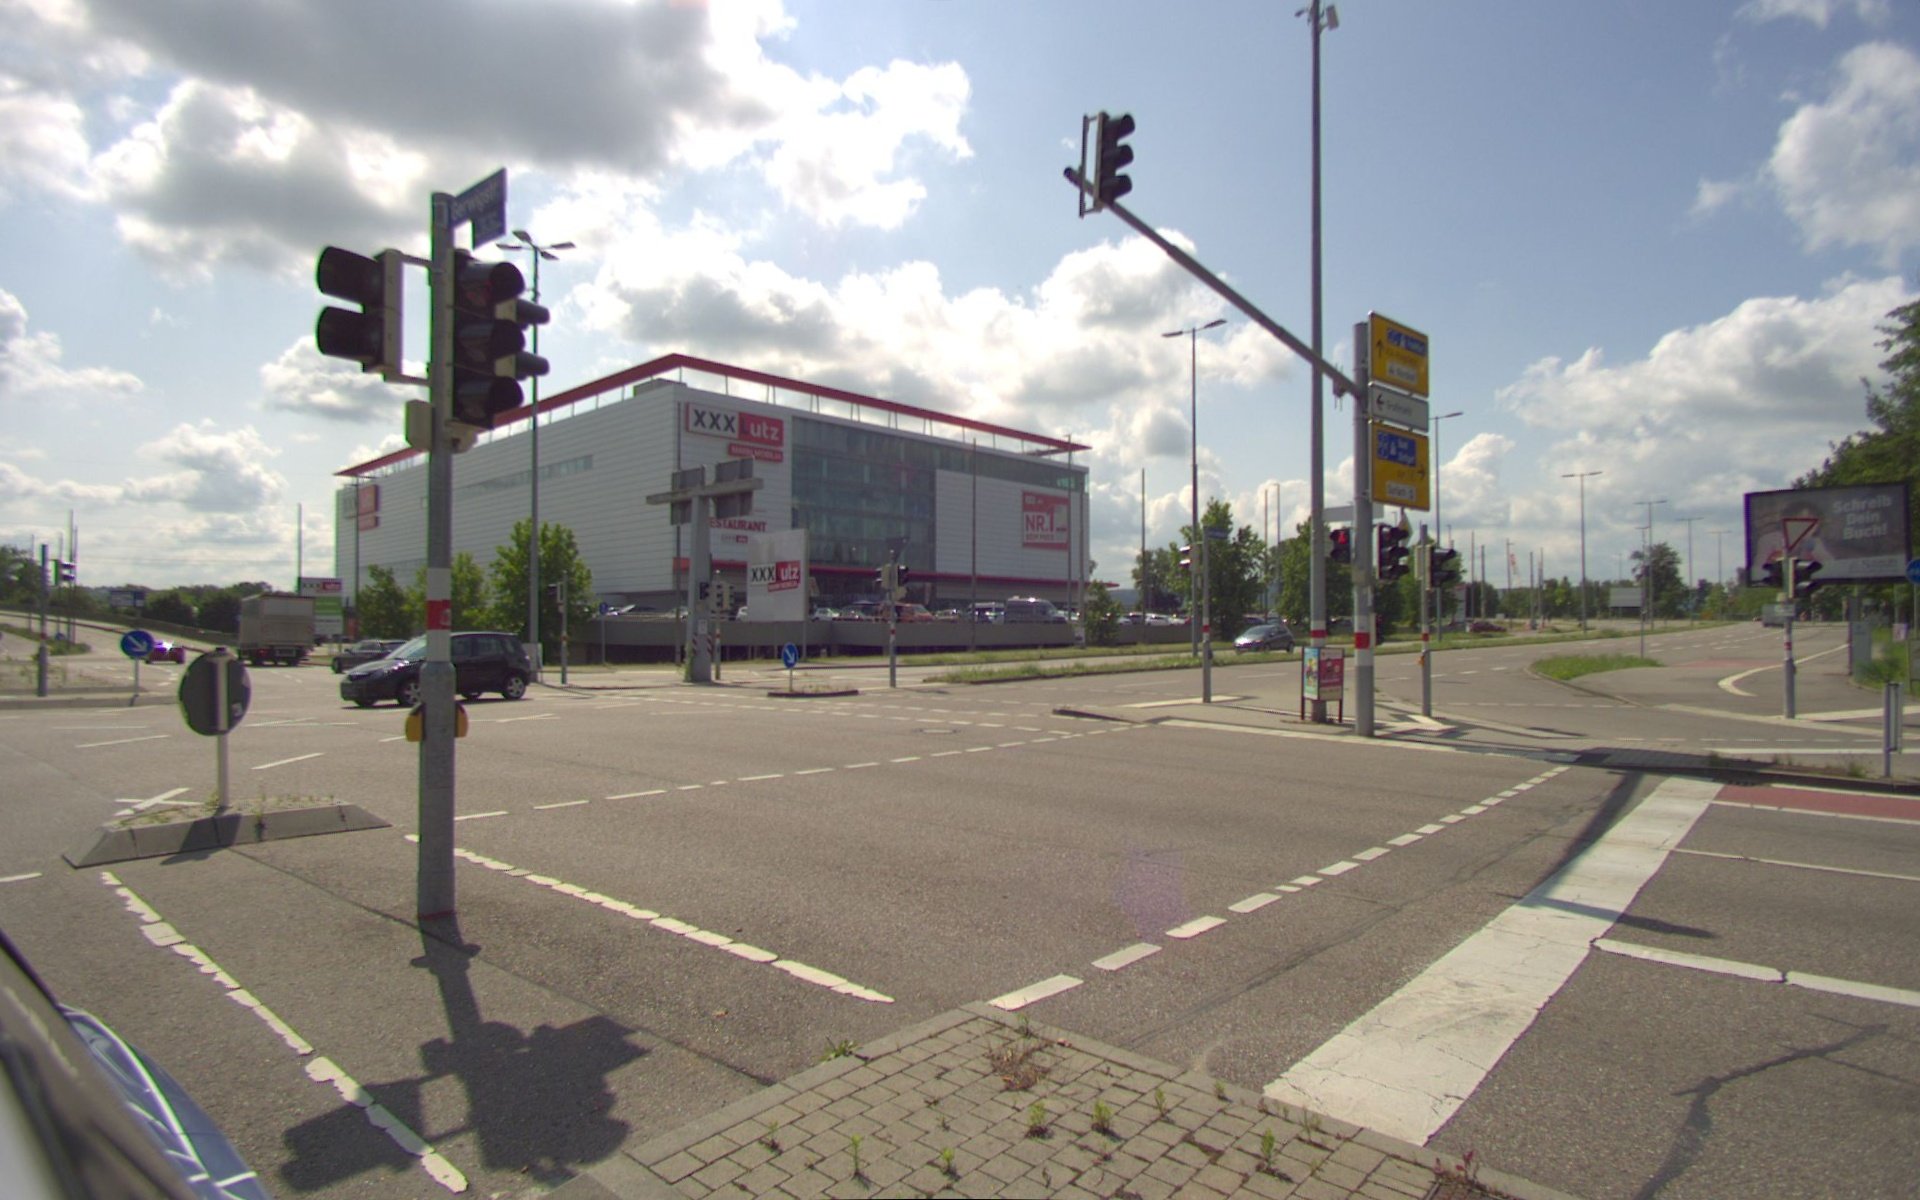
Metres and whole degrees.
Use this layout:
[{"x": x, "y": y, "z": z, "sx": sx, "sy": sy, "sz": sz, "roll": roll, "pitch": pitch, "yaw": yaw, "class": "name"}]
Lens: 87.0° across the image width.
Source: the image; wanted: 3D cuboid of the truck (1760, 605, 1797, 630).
[{"x": 98.364, "y": 2.068, "z": 121.638, "sx": 2.974, "sy": 2.773, "sz": 5.703, "roll": -4, "pitch": -3, "yaw": 43, "class": "truck"}]

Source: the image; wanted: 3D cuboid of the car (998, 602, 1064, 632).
[{"x": 6.114, "y": 1.477, "z": 87.756, "sx": 5.798, "sy": 2.301, "sz": 1.725, "roll": -4, "pitch": -3, "yaw": 42, "class": "car"}]

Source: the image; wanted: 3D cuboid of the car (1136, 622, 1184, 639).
[{"x": 20.082, "y": 3.074, "z": 101.750, "sx": 4.425, "sy": 1.618, "sz": 1.926, "roll": -3, "pitch": -3, "yaw": 45, "class": "car"}]

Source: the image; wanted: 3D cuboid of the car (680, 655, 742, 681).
[{"x": -19.139, "y": 5.209, "z": 77.941, "sx": 1.999, "sy": 1.763, "sz": 4.303, "roll": -3, "pitch": -3, "yaw": 41, "class": "car"}]

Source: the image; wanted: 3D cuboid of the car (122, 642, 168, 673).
[{"x": -48.063, "y": 3.409, "z": 59.646, "sx": 1.837, "sy": 1.668, "sz": 4.223, "roll": -1, "pitch": -2, "yaw": -43, "class": "car"}]

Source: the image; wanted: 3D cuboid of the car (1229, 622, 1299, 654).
[{"x": 15.434, "y": 1.898, "z": 51.204, "sx": 1.608, "sy": 1.542, "sz": 4.207, "roll": -3, "pitch": -3, "yaw": 44, "class": "car"}]

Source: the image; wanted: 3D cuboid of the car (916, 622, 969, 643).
[{"x": -1.488, "y": 2.738, "z": 85.238, "sx": 4.425, "sy": 1.618, "sz": 1.926, "roll": -3, "pitch": -3, "yaw": 45, "class": "car"}]

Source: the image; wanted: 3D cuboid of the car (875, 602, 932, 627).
[{"x": -4.545, "y": 1.176, "z": 81.133, "sx": 4.174, "sy": 1.763, "sz": 1.896, "roll": -4, "pitch": -2, "yaw": 32, "class": "car"}]

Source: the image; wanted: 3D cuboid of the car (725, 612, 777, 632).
[{"x": -17.303, "y": 1.814, "z": 83.648, "sx": 4.422, "sy": 1.482, "sz": 1.927, "roll": -3, "pitch": -3, "yaw": 42, "class": "car"}]

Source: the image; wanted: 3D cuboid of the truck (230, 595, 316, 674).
[{"x": -39.027, "y": 2.029, "z": 57.319, "sx": 3.171, "sy": 4.058, "sz": 9.086, "roll": -1, "pitch": -3, "yaw": -39, "class": "truck"}]

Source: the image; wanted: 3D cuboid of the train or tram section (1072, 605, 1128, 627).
[{"x": 32.683, "y": 3.726, "z": 236.454, "sx": 13.107, "sy": 4.595, "sz": 3.679, "roll": -4, "pitch": -3, "yaw": 43, "class": "train or tram section"}]

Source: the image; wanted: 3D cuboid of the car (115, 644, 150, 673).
[{"x": -58.480, "y": 4.144, "z": 71.554, "sx": 1.835, "sy": 1.668, "sz": 4.226, "roll": 1, "pitch": -7, "yaw": -39, "class": "car"}]

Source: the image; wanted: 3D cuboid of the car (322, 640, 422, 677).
[{"x": -25.228, "y": 2.506, "z": 43.354, "sx": 4.663, "sy": 1.489, "sz": 1.760, "roll": -3, "pitch": -2, "yaw": 32, "class": "car"}]

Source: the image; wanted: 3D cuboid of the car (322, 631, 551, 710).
[{"x": -11.175, "y": 1.513, "z": 21.949, "sx": 1.600, "sy": 1.542, "sz": 4.228, "roll": -2, "pitch": -4, "yaw": 28, "class": "car"}]

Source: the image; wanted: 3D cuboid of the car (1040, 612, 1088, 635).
[{"x": 9.107, "y": 2.102, "z": 89.200, "sx": 1.723, "sy": 1.807, "sz": 4.003, "roll": 0, "pitch": -3, "yaw": -44, "class": "car"}]

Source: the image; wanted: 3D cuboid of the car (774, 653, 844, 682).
[{"x": -10.054, "y": 4.483, "z": 67.587, "sx": 1.999, "sy": 1.763, "sz": 4.303, "roll": -3, "pitch": -3, "yaw": 41, "class": "car"}]

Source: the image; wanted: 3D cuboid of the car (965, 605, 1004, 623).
[{"x": 2.657, "y": 1.554, "z": 109.920, "sx": 4.001, "sy": 1.763, "sz": 1.889, "roll": -4, "pitch": -3, "yaw": 45, "class": "car"}]
